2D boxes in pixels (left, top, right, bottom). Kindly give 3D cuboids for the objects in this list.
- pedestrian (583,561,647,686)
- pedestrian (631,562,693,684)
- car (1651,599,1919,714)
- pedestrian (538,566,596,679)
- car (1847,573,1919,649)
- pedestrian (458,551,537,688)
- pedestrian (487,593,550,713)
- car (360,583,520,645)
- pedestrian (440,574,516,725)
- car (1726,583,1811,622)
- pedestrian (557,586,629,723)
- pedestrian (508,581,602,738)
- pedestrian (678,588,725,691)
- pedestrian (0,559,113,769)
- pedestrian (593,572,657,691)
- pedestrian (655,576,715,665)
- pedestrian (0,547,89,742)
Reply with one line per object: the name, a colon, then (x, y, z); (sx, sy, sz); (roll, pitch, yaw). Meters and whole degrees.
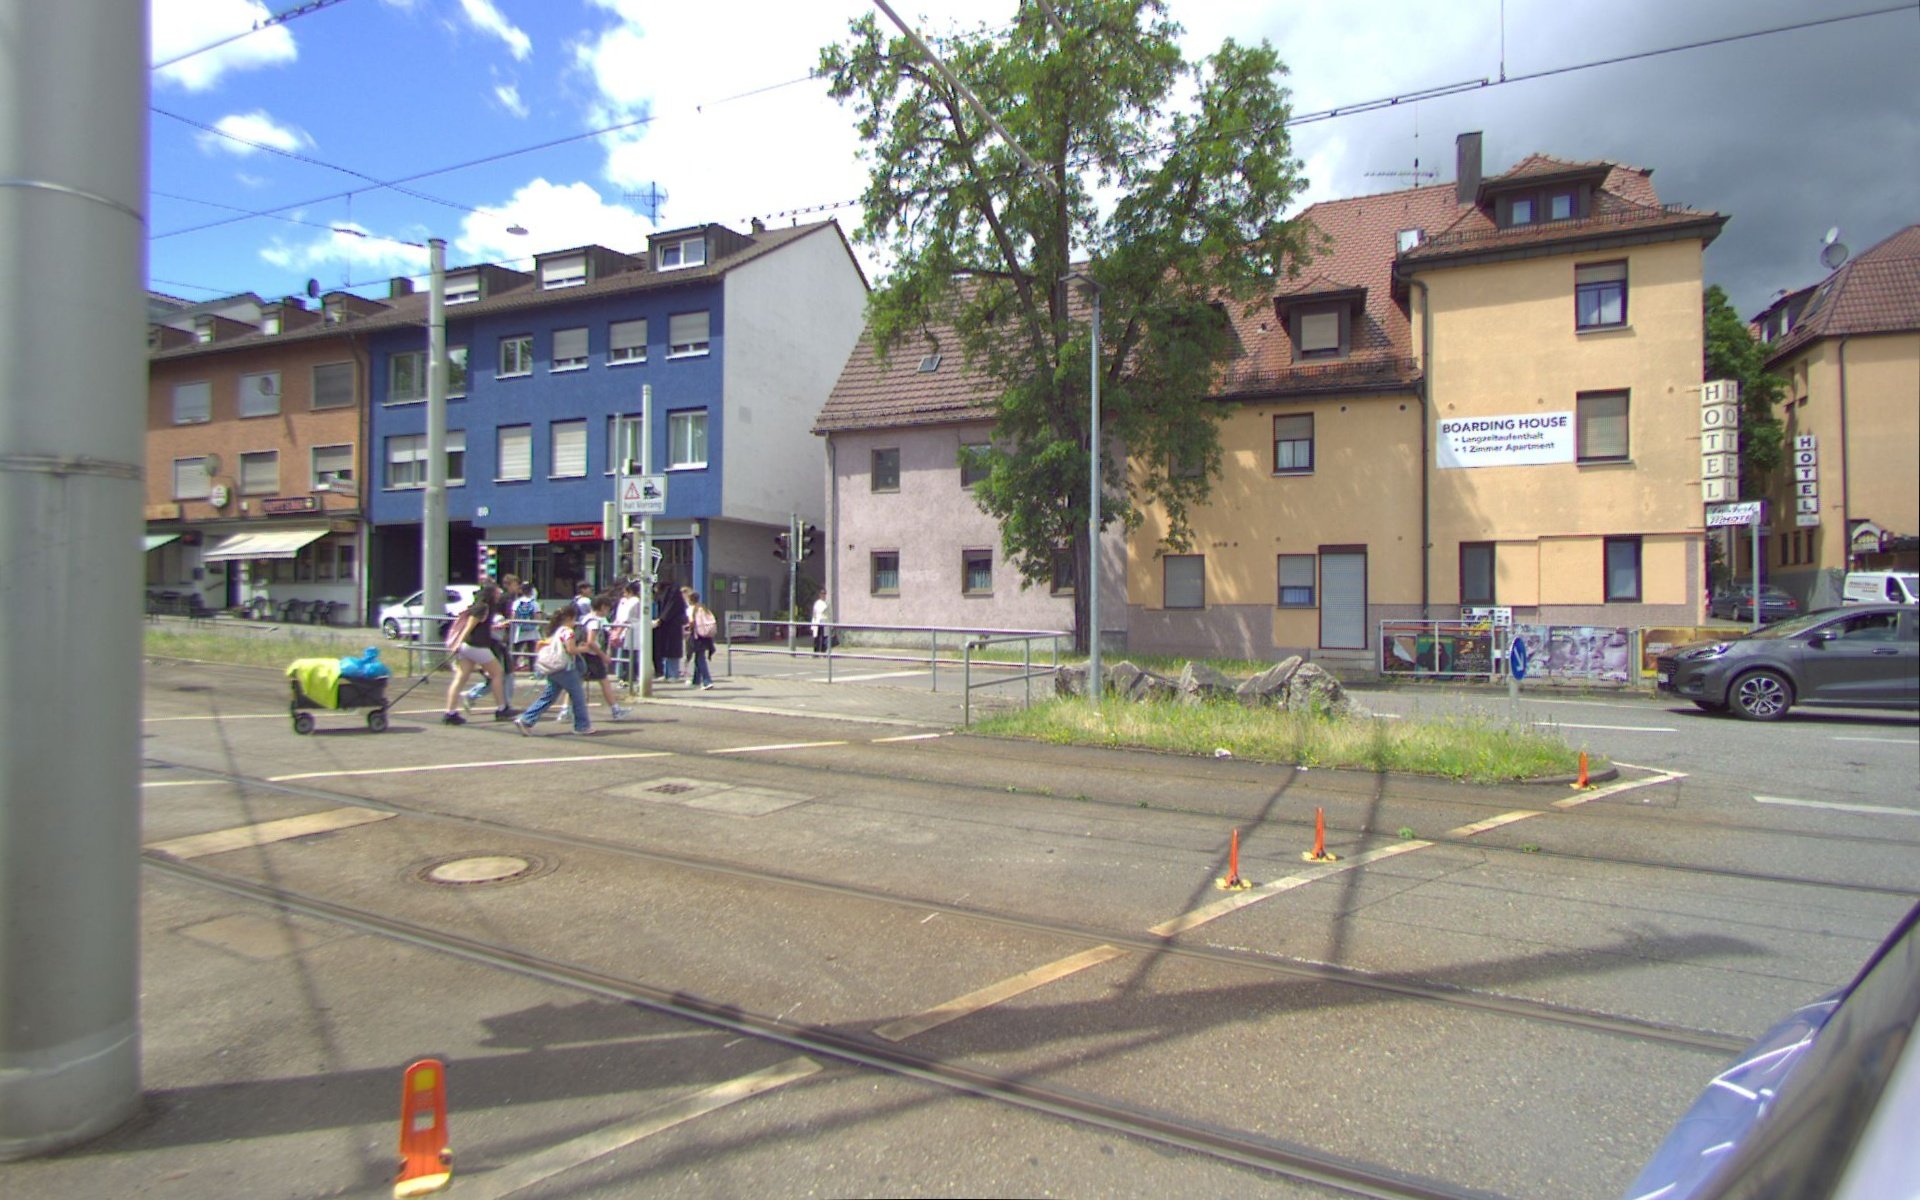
pedestrian: (-5.010, 0.328, 14.720); (0.669, 1.772, 0.581); (0, 0, 30)
pedestrian: (-4.455, 0.335, 15.144); (0.669, 1.772, 0.581); (0, 0, 30)
car: (12.074, 0.700, 13.110); (4.797, 1.388, 1.905); (0, -1, 22)
pedestrian: (-6.329, 0.354, 16.296); (0.669, 1.772, 0.581); (0, 0, 30)
car: (26.026, 0.246, 26.959); (2.056, 1.921, 4.631); (-1, 0, 21)
pedestrian: (-5.242, 0.219, 11.497); (0.661, 1.511, 0.588); (0, -1, -7)
pedestrian: (-6.653, 0.784, 15.275); (0.737, 1.772, 0.588); (0, 0, -7)
car: (-14.054, 0.363, 27.351); (3.955, 1.551, 1.699); (1, -1, 23)
pedestrian: (-5.100, 0.504, 10.739); (0.661, 1.546, 0.588); (0, 0, -18)
car: (29.784, 0.120, 37.363); (1.543, 1.388, 3.110); (0, -1, 21)
pedestrian: (-3.976, 0.565, 10.959); (0.661, 1.418, 0.588); (0, 0, -27)
pedestrian: (-4.026, 0.558, 10.061); (0.764, 1.488, 0.541); (0, 0, -34)
pedestrian: (-3.620, 0.534, 14.206); (0.575, 1.392, 0.782); (1, 0, -11)
pedestrian: (-7.078, 0.453, 7.594); (0.837, 1.500, 0.743); (0, 0, -7)
pedestrian: (-4.603, 0.422, 13.902); (0.673, 1.586, 0.578); (-1, -2, 43)
pedestrian: (-4.397, 0.310, 16.194); (0.668, 1.392, 0.629); (1, 0, 26)
pedestrian: (-8.447, 0.374, 8.979); (0.873, 1.672, 0.827); (0, 0, -23)
